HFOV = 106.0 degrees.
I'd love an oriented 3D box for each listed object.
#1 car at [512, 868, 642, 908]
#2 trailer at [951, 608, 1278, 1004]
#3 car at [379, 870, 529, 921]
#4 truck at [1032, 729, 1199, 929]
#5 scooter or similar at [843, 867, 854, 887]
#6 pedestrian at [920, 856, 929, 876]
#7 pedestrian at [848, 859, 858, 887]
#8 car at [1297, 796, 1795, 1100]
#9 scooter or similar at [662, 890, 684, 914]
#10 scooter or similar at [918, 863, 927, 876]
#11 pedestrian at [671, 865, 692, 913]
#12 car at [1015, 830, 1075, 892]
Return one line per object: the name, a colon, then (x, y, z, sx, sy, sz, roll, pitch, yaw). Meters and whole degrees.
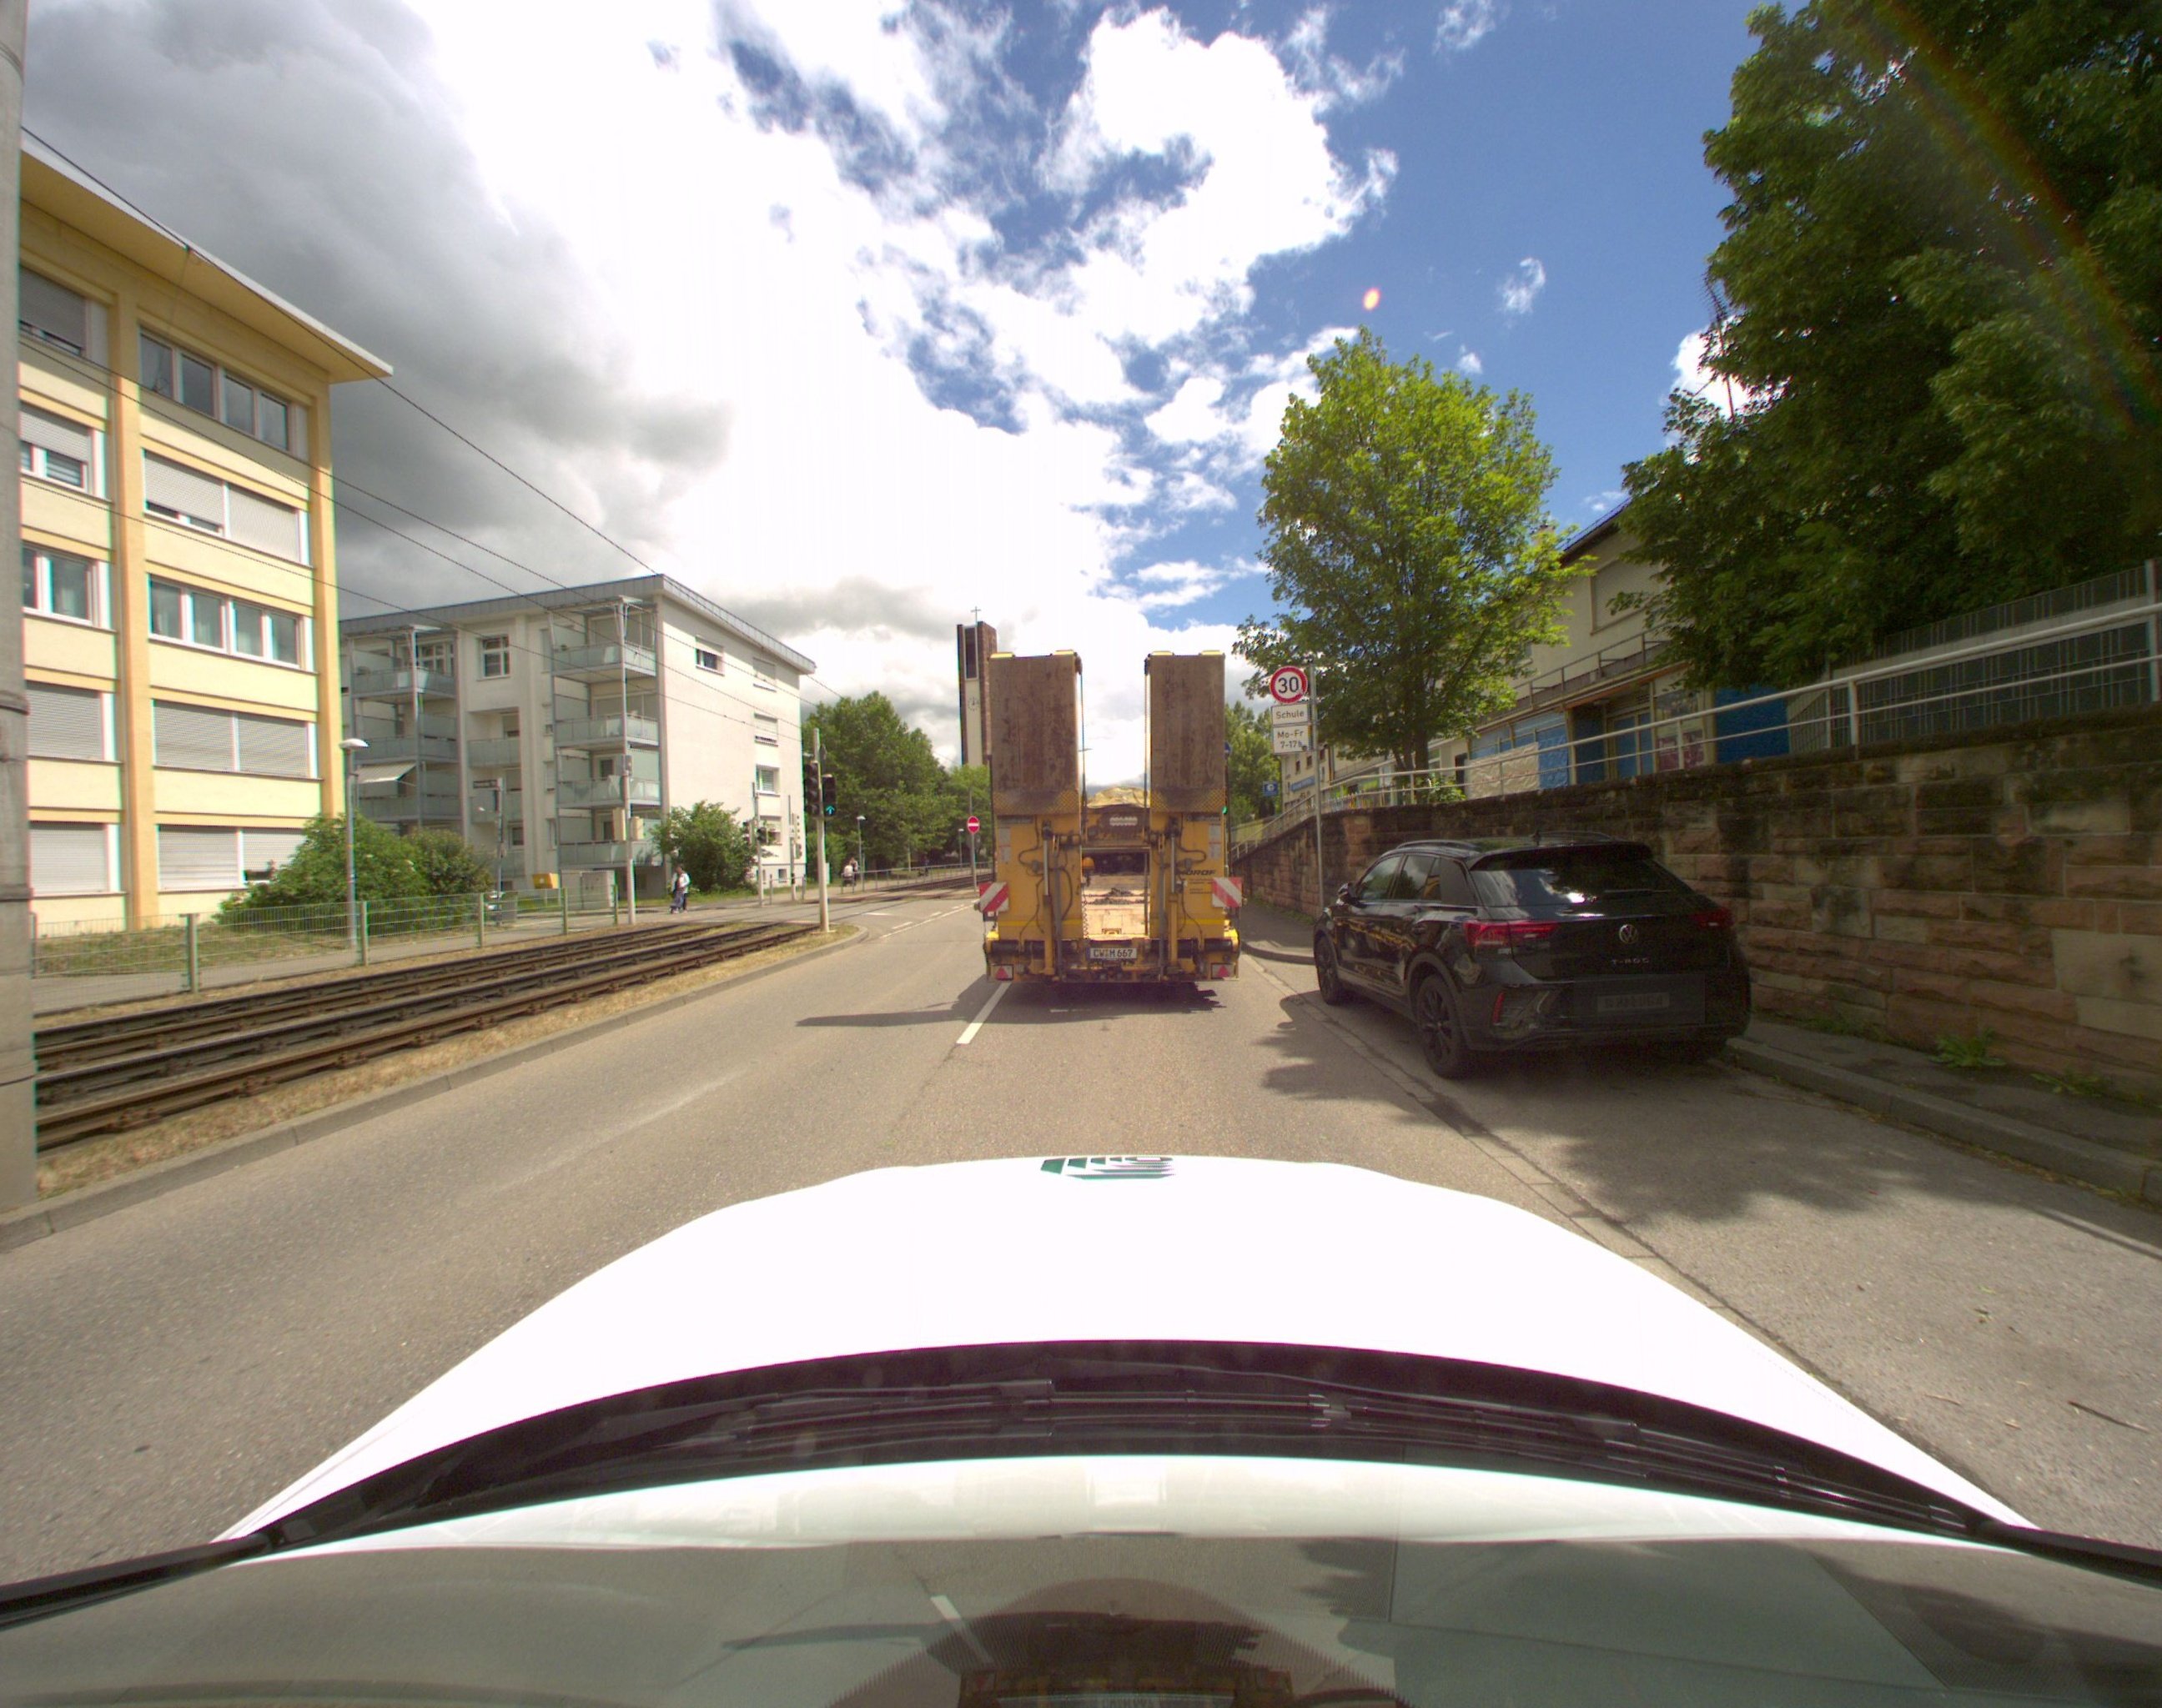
car: (-19.649, 1.301, 31.835, 3.963, 1.345, 1.906, -2, 0, 9)
trailer: (0.503, -0.460, 11.995, 2.933, 3.601, 8.689, -2, 0, 3)
car: (-21.870, 1.414, 28.500, 3.961, 1.651, 2.006, 0, 0, 11)
truck: (0.744, -0.470, 17.452, 2.931, 3.572, 4.880, -2, 0, 2)
scooter or similar: (-12.865, 1.262, 45.114, 0.336, 1.057, 0.688, -2, 0, 5)
pedestrian: (-12.005, 0.937, 62.626, 0.562, 1.513, 0.646, 0, 0, 0)
pedestrian: (-12.814, 1.051, 45.750, 0.346, 1.537, 0.558, -2, 0, 5)
car: (3.177, 0.536, 6.649, 1.843, 1.639, 4.003, -3, 0, 2)
scooter or similar: (-13.470, 1.582, 26.921, 0.435, 0.747, 0.475, -2, 0, 7)
scooter or similar: (-12.045, 1.202, 61.971, 0.504, 0.971, 0.646, 0, 0, 0)
pedestrian: (-13.407, 1.161, 27.320, 0.435, 1.581, 0.475, 0, 0, 7)
car: (-1.386, 0.265, 33.462, 2.005, 2.359, 5.386, 0, 0, 2)
